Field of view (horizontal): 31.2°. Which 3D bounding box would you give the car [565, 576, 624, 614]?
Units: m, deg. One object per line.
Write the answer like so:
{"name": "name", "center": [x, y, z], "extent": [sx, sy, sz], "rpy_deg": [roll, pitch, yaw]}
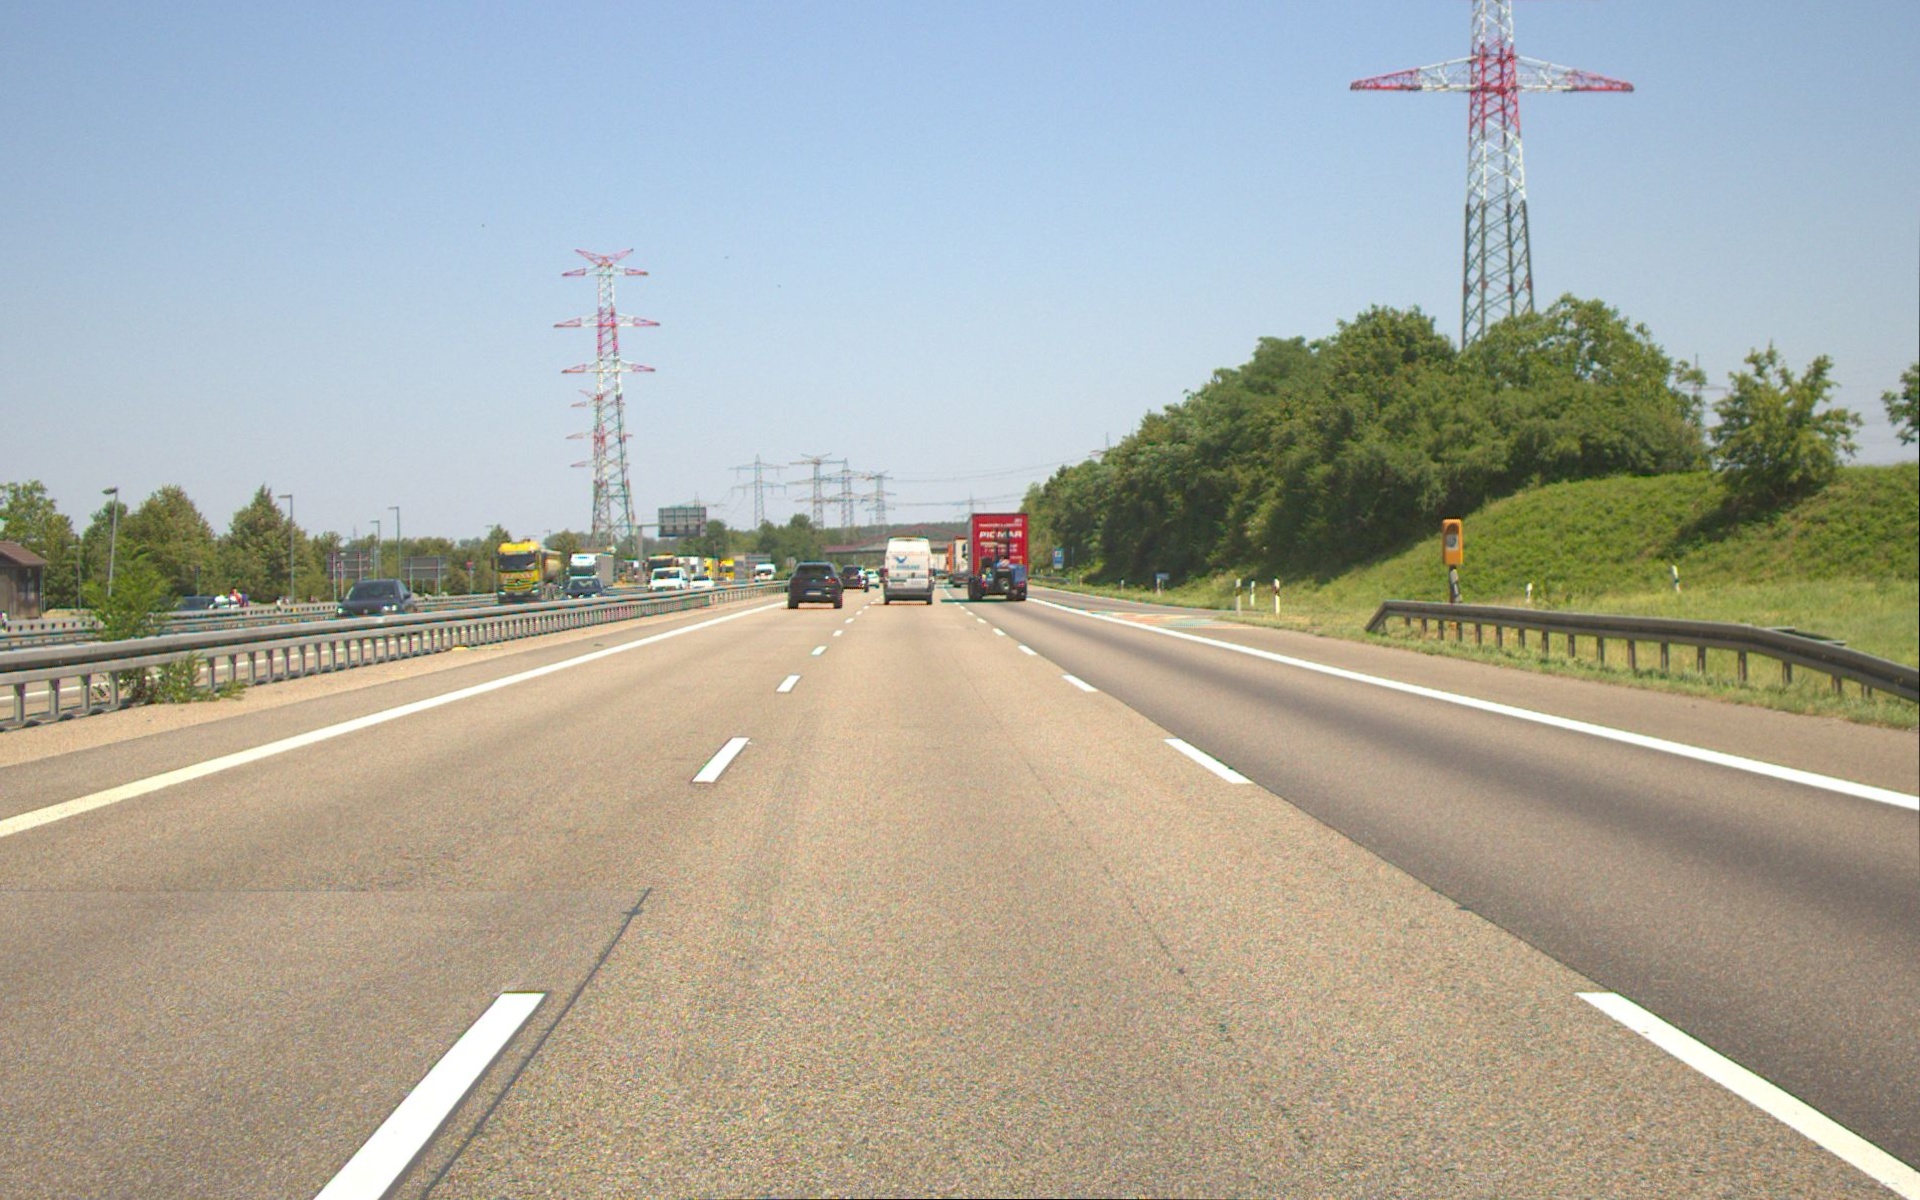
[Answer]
{"name": "car", "center": [-15.907, -0.231, 149.802], "extent": [2.052, 1.546, 4.891], "rpy_deg": [-3, 1, -1]}

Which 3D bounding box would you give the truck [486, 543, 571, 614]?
{"name": "truck", "center": [-24.378, -1.243, 194.796], "extent": [3.171, 3.797, 13.531], "rpy_deg": [-1, 0, -1]}

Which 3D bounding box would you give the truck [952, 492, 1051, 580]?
{"name": "truck", "center": [1.851, -2.991, 163.152], "extent": [4.331, 3.928, 16.078], "rpy_deg": [1, 1, -1]}

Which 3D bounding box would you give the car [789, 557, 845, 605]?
{"name": "car", "center": [-5.376, -0.734, 129.535], "extent": [1.993, 1.744, 4.000], "rpy_deg": [1, 1, -1]}

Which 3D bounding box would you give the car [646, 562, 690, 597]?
{"name": "car", "center": [-16.028, -1.140, 188.821], "extent": [2.052, 1.836, 5.943], "rpy_deg": [-1, 0, -1]}

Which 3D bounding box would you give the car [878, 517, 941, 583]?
{"name": "car", "center": [-2.147, -2.107, 145.519], "extent": [2.621, 2.750, 6.096], "rpy_deg": [1, 1, -1]}

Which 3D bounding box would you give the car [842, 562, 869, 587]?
{"name": "car", "center": [-6.825, -1.675, 225.044], "extent": [1.747, 1.628, 4.004], "rpy_deg": [1, 1, -1]}

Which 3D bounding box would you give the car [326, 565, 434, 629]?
{"name": "car", "center": [-15.235, -0.106, 90.473], "extent": [2.052, 1.546, 4.891], "rpy_deg": [-3, 1, -1]}
